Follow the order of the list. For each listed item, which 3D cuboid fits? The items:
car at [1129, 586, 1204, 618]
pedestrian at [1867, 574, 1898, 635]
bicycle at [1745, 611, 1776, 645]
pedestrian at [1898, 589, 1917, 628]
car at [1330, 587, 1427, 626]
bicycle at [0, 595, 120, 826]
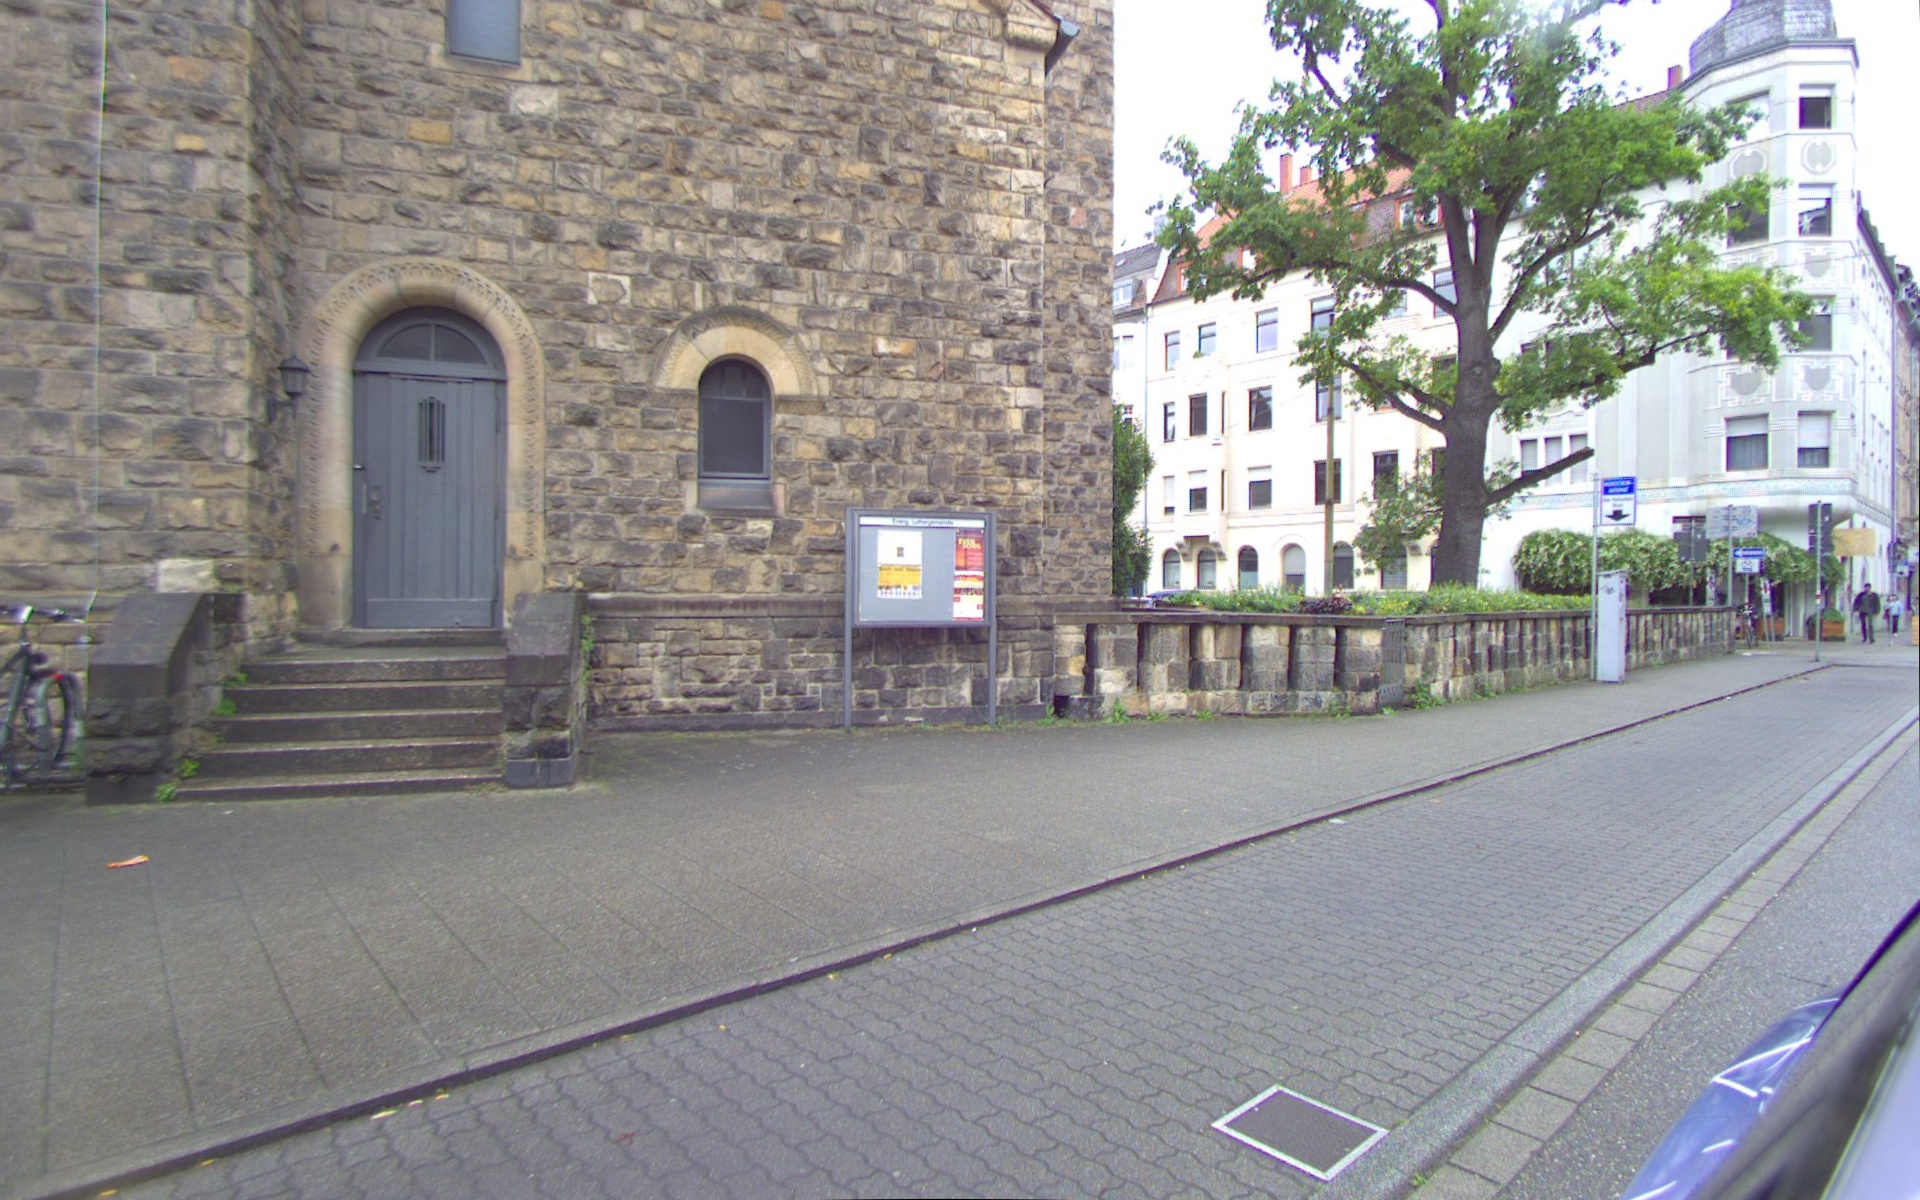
[{"bbox_3d":[9.608,0.074,47.248,1.421,1.427,3.271,0,1,-38],"label":"car"},{"bbox_3d":[29.354,0.137,32.205,0.681,1.896,0.645,0,1,-42],"label":"pedestrian"},{"bbox_3d":[24.212,0.839,30.597,1.990,0.904,0.390,-3,3,-42],"label":"bicycle"},{"bbox_3d":[35.902,0.320,38.348,0.385,1.479,0.481,0,1,-41],"label":"pedestrian"},{"bbox_3d":[16.459,0.228,39.887,1.421,1.427,3.271,0,1,-38],"label":"car"},{"bbox_3d":[-5.431,0.545,5.793,0.502,1.067,1.994,0,3,-27],"label":"bicycle"}]
